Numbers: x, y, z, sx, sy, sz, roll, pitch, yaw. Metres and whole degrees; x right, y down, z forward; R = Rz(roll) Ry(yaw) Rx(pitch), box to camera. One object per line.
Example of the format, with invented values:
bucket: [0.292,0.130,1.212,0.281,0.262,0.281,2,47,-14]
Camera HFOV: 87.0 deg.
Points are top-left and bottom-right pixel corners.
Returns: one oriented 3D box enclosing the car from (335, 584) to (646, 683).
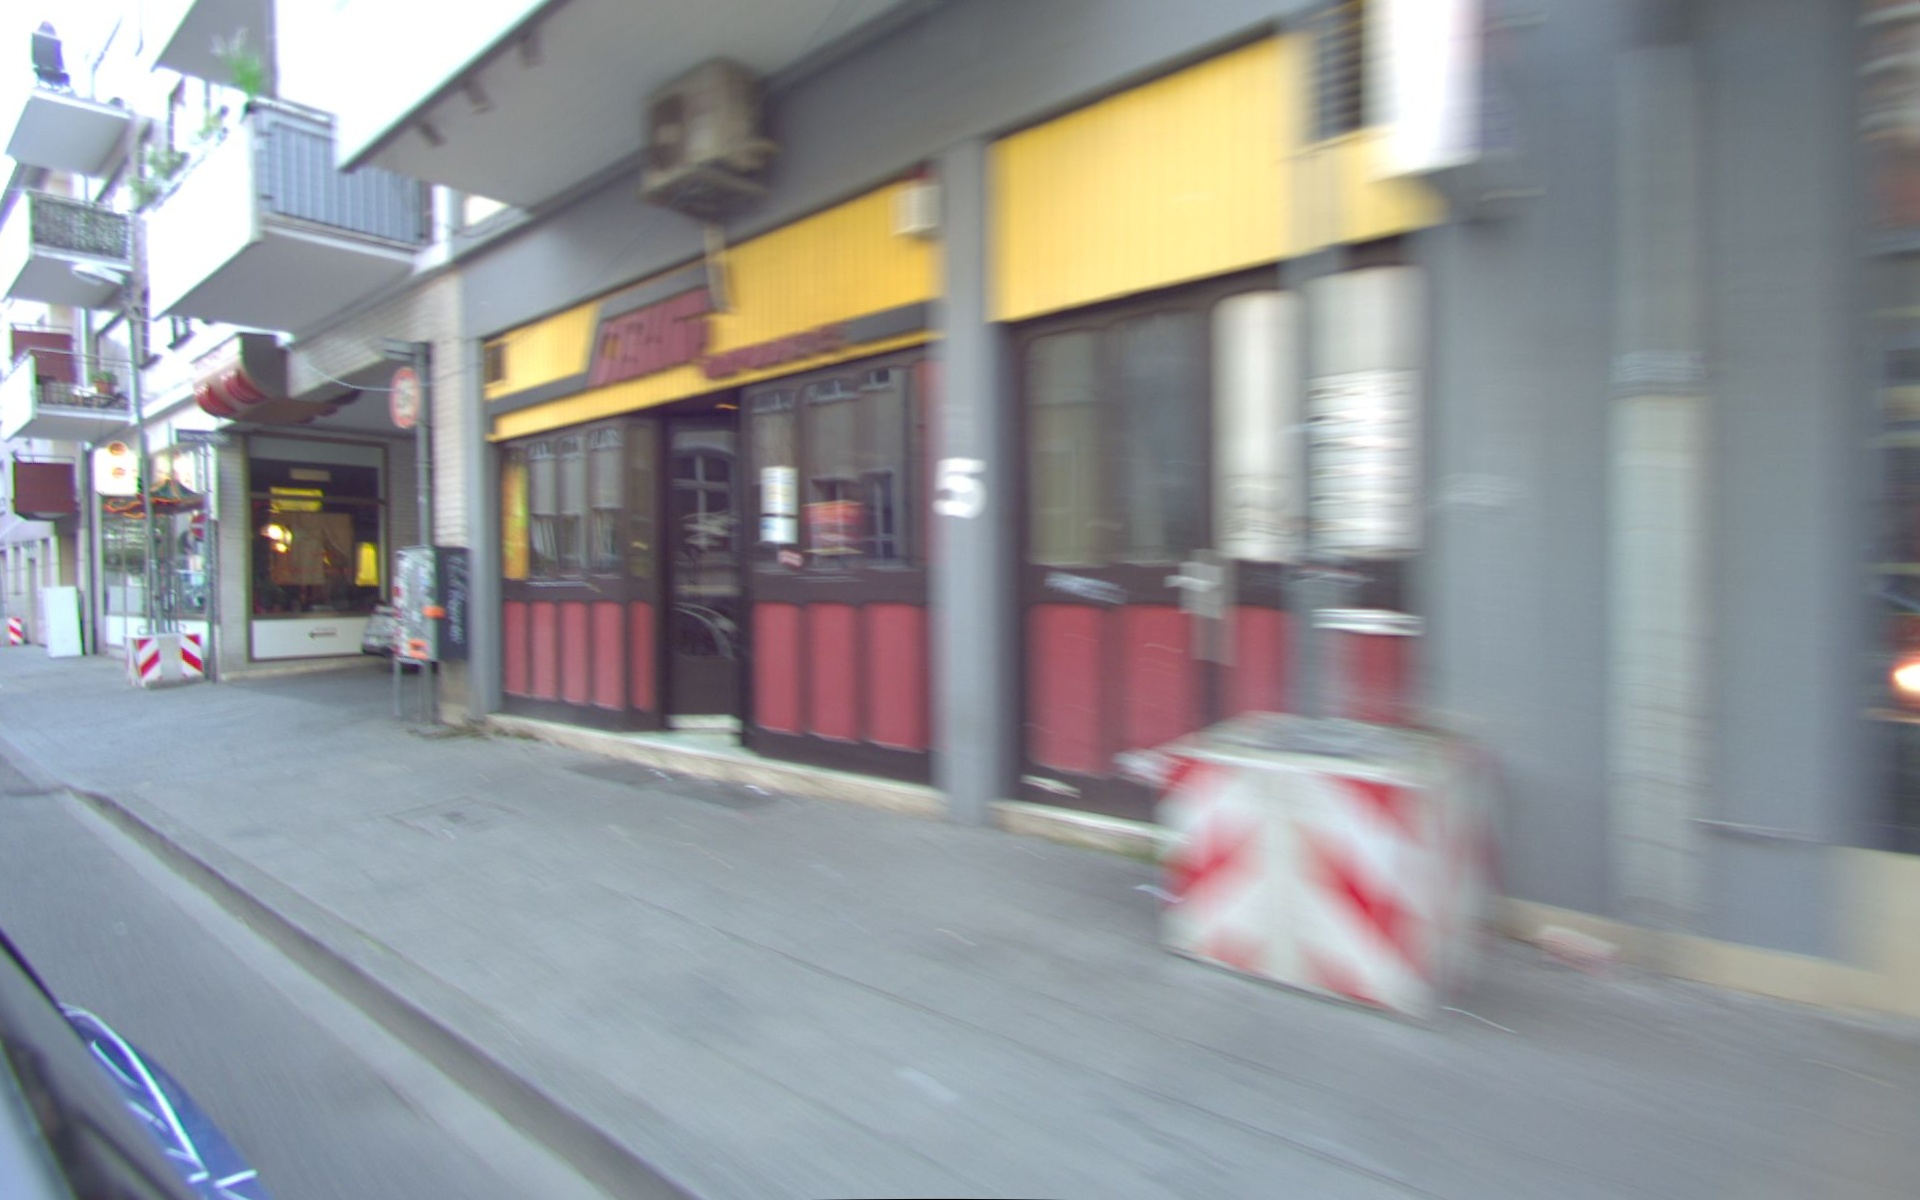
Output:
car: [-7.693,0.467,16.912,2.019,1.432,4.272,0,1,39]

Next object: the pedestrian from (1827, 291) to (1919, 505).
pedestrian: [10.833,-2.088,9.268,1.967,2.029,4.009,0,0,-11]
